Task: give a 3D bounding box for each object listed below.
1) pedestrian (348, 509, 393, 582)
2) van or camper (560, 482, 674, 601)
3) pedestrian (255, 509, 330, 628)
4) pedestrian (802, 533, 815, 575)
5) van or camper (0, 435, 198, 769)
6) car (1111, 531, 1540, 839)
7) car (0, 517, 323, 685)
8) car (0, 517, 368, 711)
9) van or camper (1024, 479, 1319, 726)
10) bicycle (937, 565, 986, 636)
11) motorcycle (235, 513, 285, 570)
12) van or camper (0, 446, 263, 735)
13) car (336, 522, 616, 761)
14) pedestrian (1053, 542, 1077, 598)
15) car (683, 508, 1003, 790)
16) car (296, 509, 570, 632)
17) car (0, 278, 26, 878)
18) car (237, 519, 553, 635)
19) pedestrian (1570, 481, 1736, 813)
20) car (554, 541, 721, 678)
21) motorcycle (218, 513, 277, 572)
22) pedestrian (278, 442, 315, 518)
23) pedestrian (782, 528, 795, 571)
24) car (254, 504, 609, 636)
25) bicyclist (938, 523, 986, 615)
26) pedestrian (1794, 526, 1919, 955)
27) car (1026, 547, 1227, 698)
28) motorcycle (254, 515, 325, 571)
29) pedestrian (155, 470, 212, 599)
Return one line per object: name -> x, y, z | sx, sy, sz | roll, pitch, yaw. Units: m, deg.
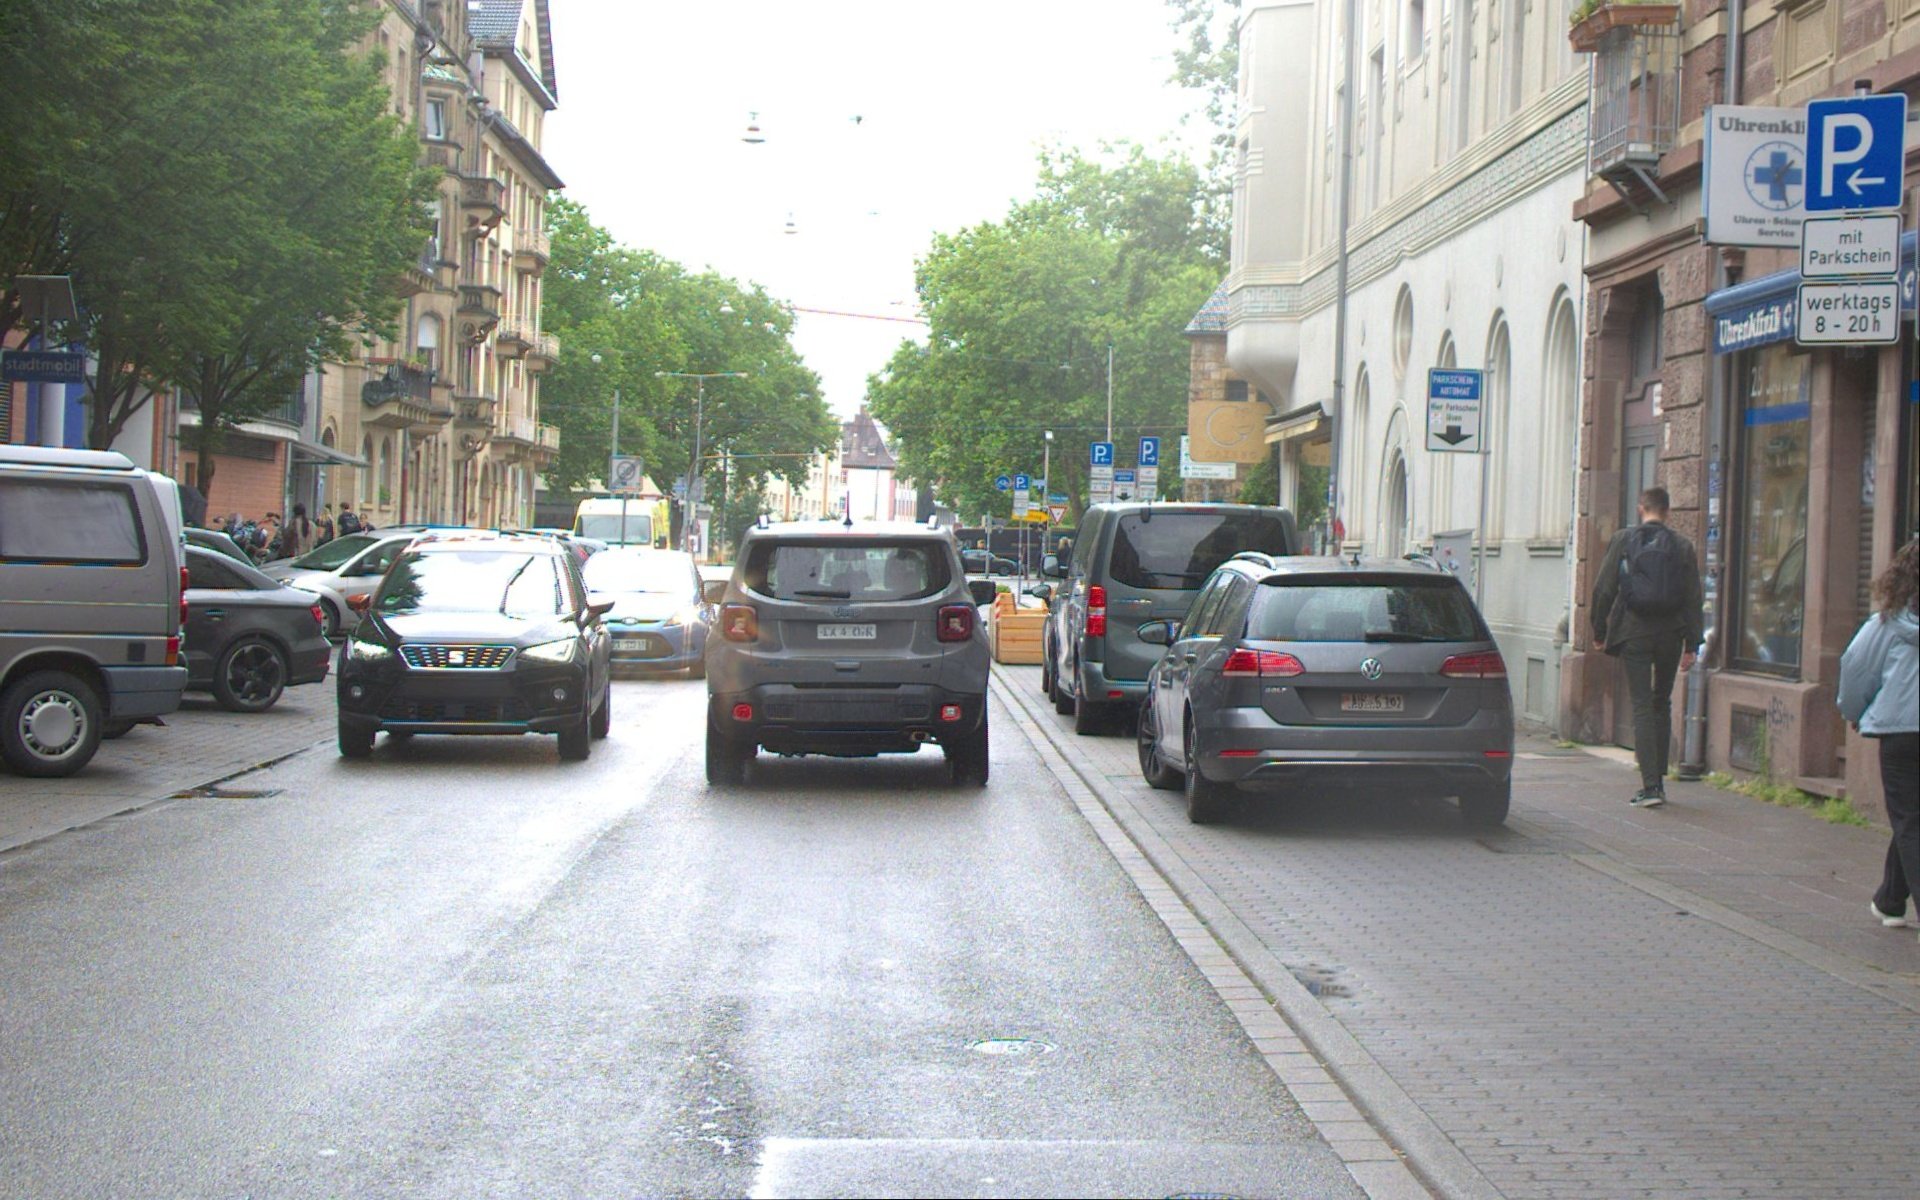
pedestrian -> -12.823, -1.190, 74.789 | 0.709, 1.546, 0.607 | 4, 1, 6
van or camper -> -8.093, -1.329, 81.613 | 2.121, 2.522, 6.875 | -2, -1, -2
pedestrian -> -10.183, -0.477, 52.469 | 0.825, 1.746, 0.757 | 4, 1, 6
pedestrian -> -5.720, -1.745, 129.736 | 0.467, 1.580, 0.752 | 1, 1, -2
van or camper -> -7.017, -0.051, 20.456 | 4.434, 1.968, 1.781 | 2, 1, -34
car -> 1.962, 0.407, 19.616 | 1.841, 1.540, 4.004 | 1, 1, -2
car -> -7.656, -0.014, 30.846 | 3.471, 1.430, 1.650 | 0, 1, -43
car -> -7.075, 0.091, 28.163 | 3.967, 1.442, 1.767 | 3, 1, -41
van or camper -> 1.683, -0.031, 29.047 | 2.021, 1.884, 5.055 | 1, 1, -2
bicycle -> 0.016, -0.002, 53.016 | 0.705, 1.050, 1.813 | 1, 1, -1
motorcycle -> -15.321, -1.289, 75.311 | 0.753, 1.170, 2.116 | 4, 1, -5
van or camper -> -7.557, -0.157, 23.876 | 4.684, 1.946, 2.336 | 3, 2, -43
car -> -3.447, 0.248, 25.060 | 1.669, 1.554, 4.004 | 2, 1, -4
pedestrian -> 3.248, -0.941, 106.466 | 0.690, 1.705, 0.684 | 1, 1, -1
car -> -0.795, 0.264, 23.073 | 1.898, 1.665, 4.506 | 1, 1, -2
car -> -7.319, -0.407, 47.823 | 3.375, 1.648, 1.634 | 0, 1, -34
car -> -6.970, -0.208, 14.204 | 5.554, 2.532, 2.230 | 2, 1, -28
car -> -7.370, -0.304, 44.961 | 3.702, 1.447, 1.685 | 0, 1, -36
pedestrian -> 4.130, 0.270, 20.479 | 0.680, 1.928, 0.808 | 1, 0, 34
car -> -3.665, 0.074, 39.626 | 1.669, 1.460, 4.004 | 1, 1, -2
motorcycle -> -15.157, -1.222, 73.161 | 0.753, 1.170, 2.116 | 4, 1, -1
pedestrian -> -15.655, -2.829, 81.123 | 0.660, 1.751, 0.797 | 1, 1, -25
pedestrian -> -6.406, -1.880, 128.381 | 0.467, 1.580, 0.752 | 1, 1, -2
car -> -7.785, -0.436, 50.759 | 4.510, 1.534, 2.338 | 5, -2, -34
bicyclist -> 0.027, -0.482, 53.008 | 0.705, 1.399, 1.171 | 1, 1, -1
pedestrian -> 3.679, 0.523, 13.288 | 0.679, 1.608, 0.810 | 1, 1, -1
car -> 1.610, 0.186, 34.389 | 1.710, 1.396, 3.705 | 1, 1, -2
motorcycle -> -15.094, -1.276, 77.438 | 0.754, 1.170, 2.115 | 4, 1, 11
pedestrian -> -10.380, -0.870, 45.967 | 0.611, 1.701, 0.433 | 2, -1, -1
